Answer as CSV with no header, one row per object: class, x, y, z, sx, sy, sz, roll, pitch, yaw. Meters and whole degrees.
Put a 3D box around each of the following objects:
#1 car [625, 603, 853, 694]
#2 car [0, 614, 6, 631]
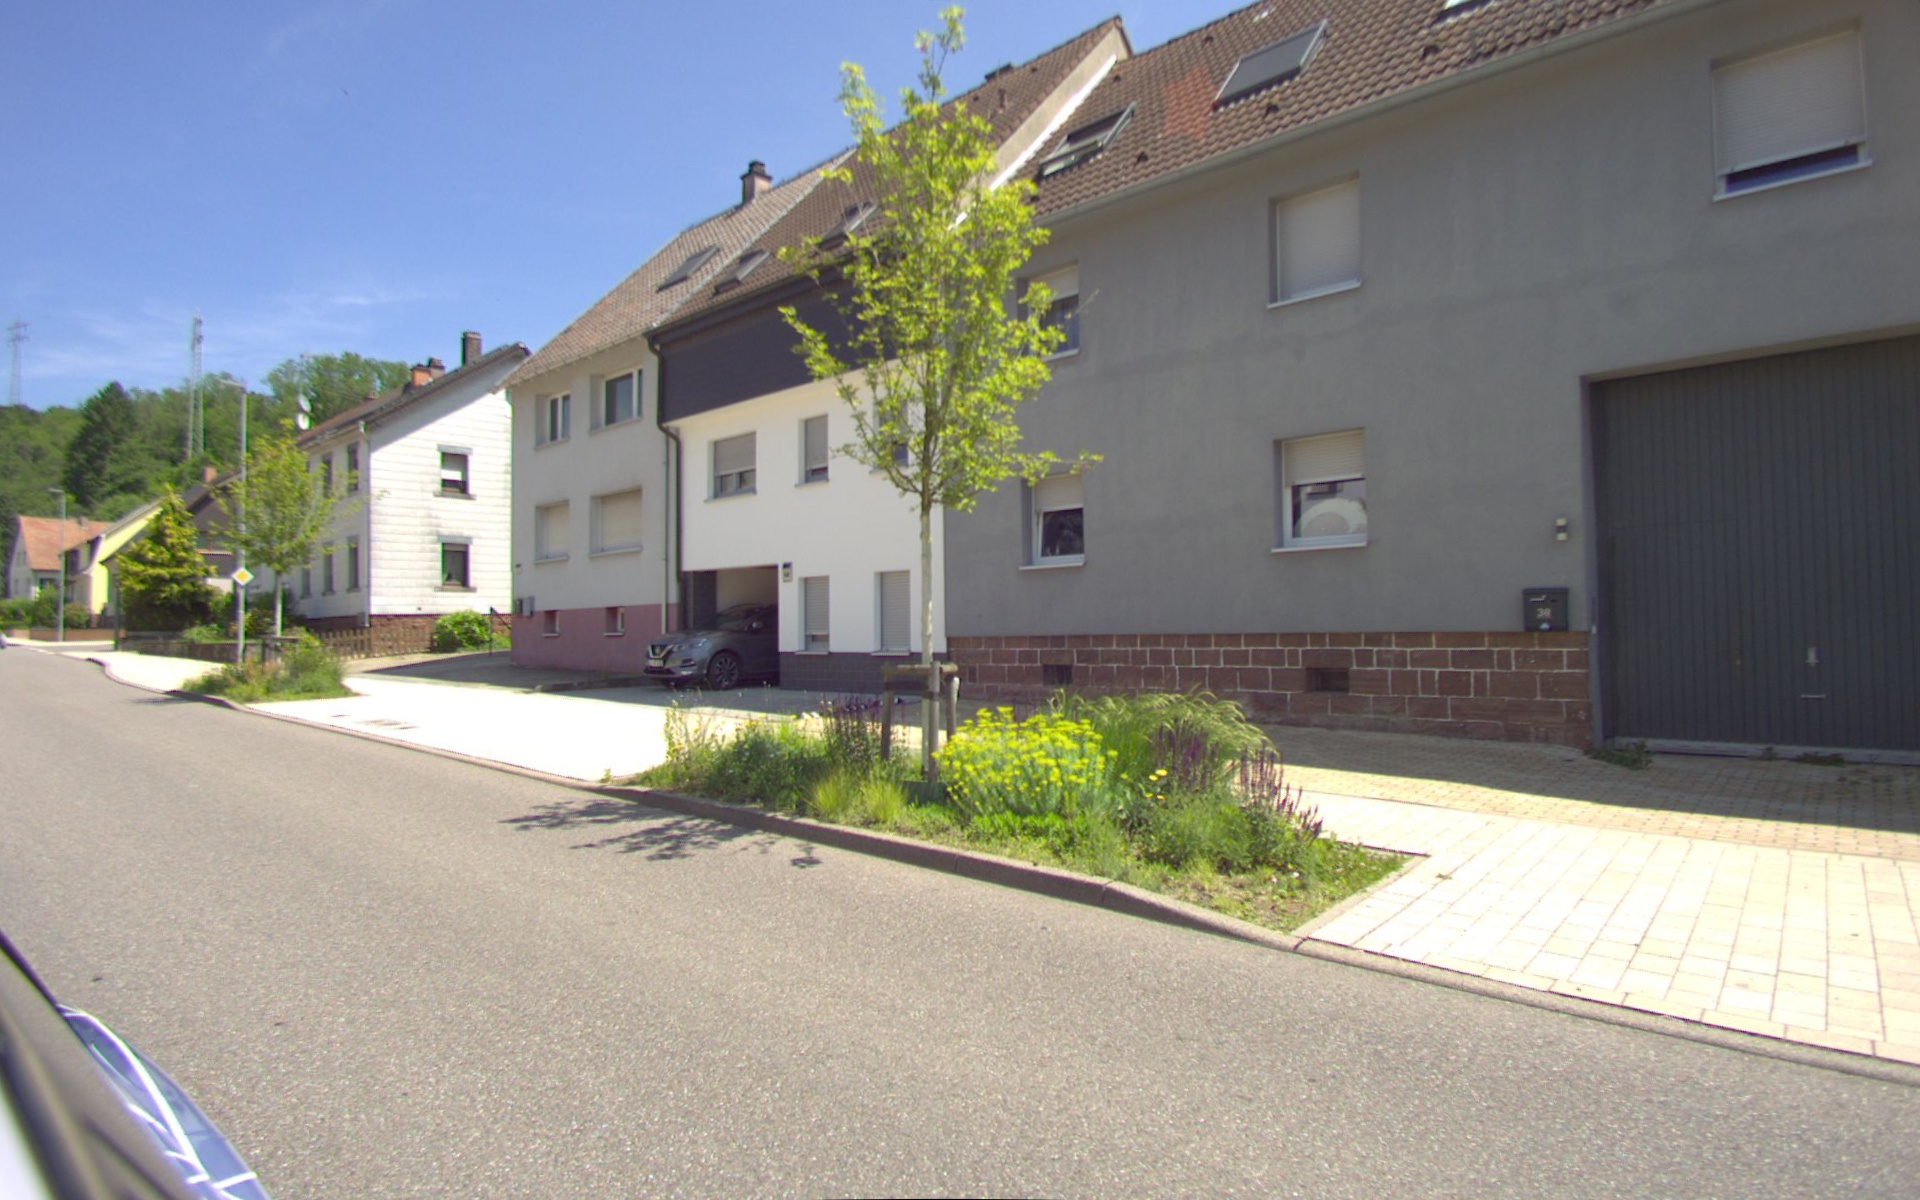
car,-4.134,0.855,19.366,1.832,1.557,3.944,-2,-1,42
car,-107.211,2.498,110.523,1.796,1.803,3.975,-1,-1,19
